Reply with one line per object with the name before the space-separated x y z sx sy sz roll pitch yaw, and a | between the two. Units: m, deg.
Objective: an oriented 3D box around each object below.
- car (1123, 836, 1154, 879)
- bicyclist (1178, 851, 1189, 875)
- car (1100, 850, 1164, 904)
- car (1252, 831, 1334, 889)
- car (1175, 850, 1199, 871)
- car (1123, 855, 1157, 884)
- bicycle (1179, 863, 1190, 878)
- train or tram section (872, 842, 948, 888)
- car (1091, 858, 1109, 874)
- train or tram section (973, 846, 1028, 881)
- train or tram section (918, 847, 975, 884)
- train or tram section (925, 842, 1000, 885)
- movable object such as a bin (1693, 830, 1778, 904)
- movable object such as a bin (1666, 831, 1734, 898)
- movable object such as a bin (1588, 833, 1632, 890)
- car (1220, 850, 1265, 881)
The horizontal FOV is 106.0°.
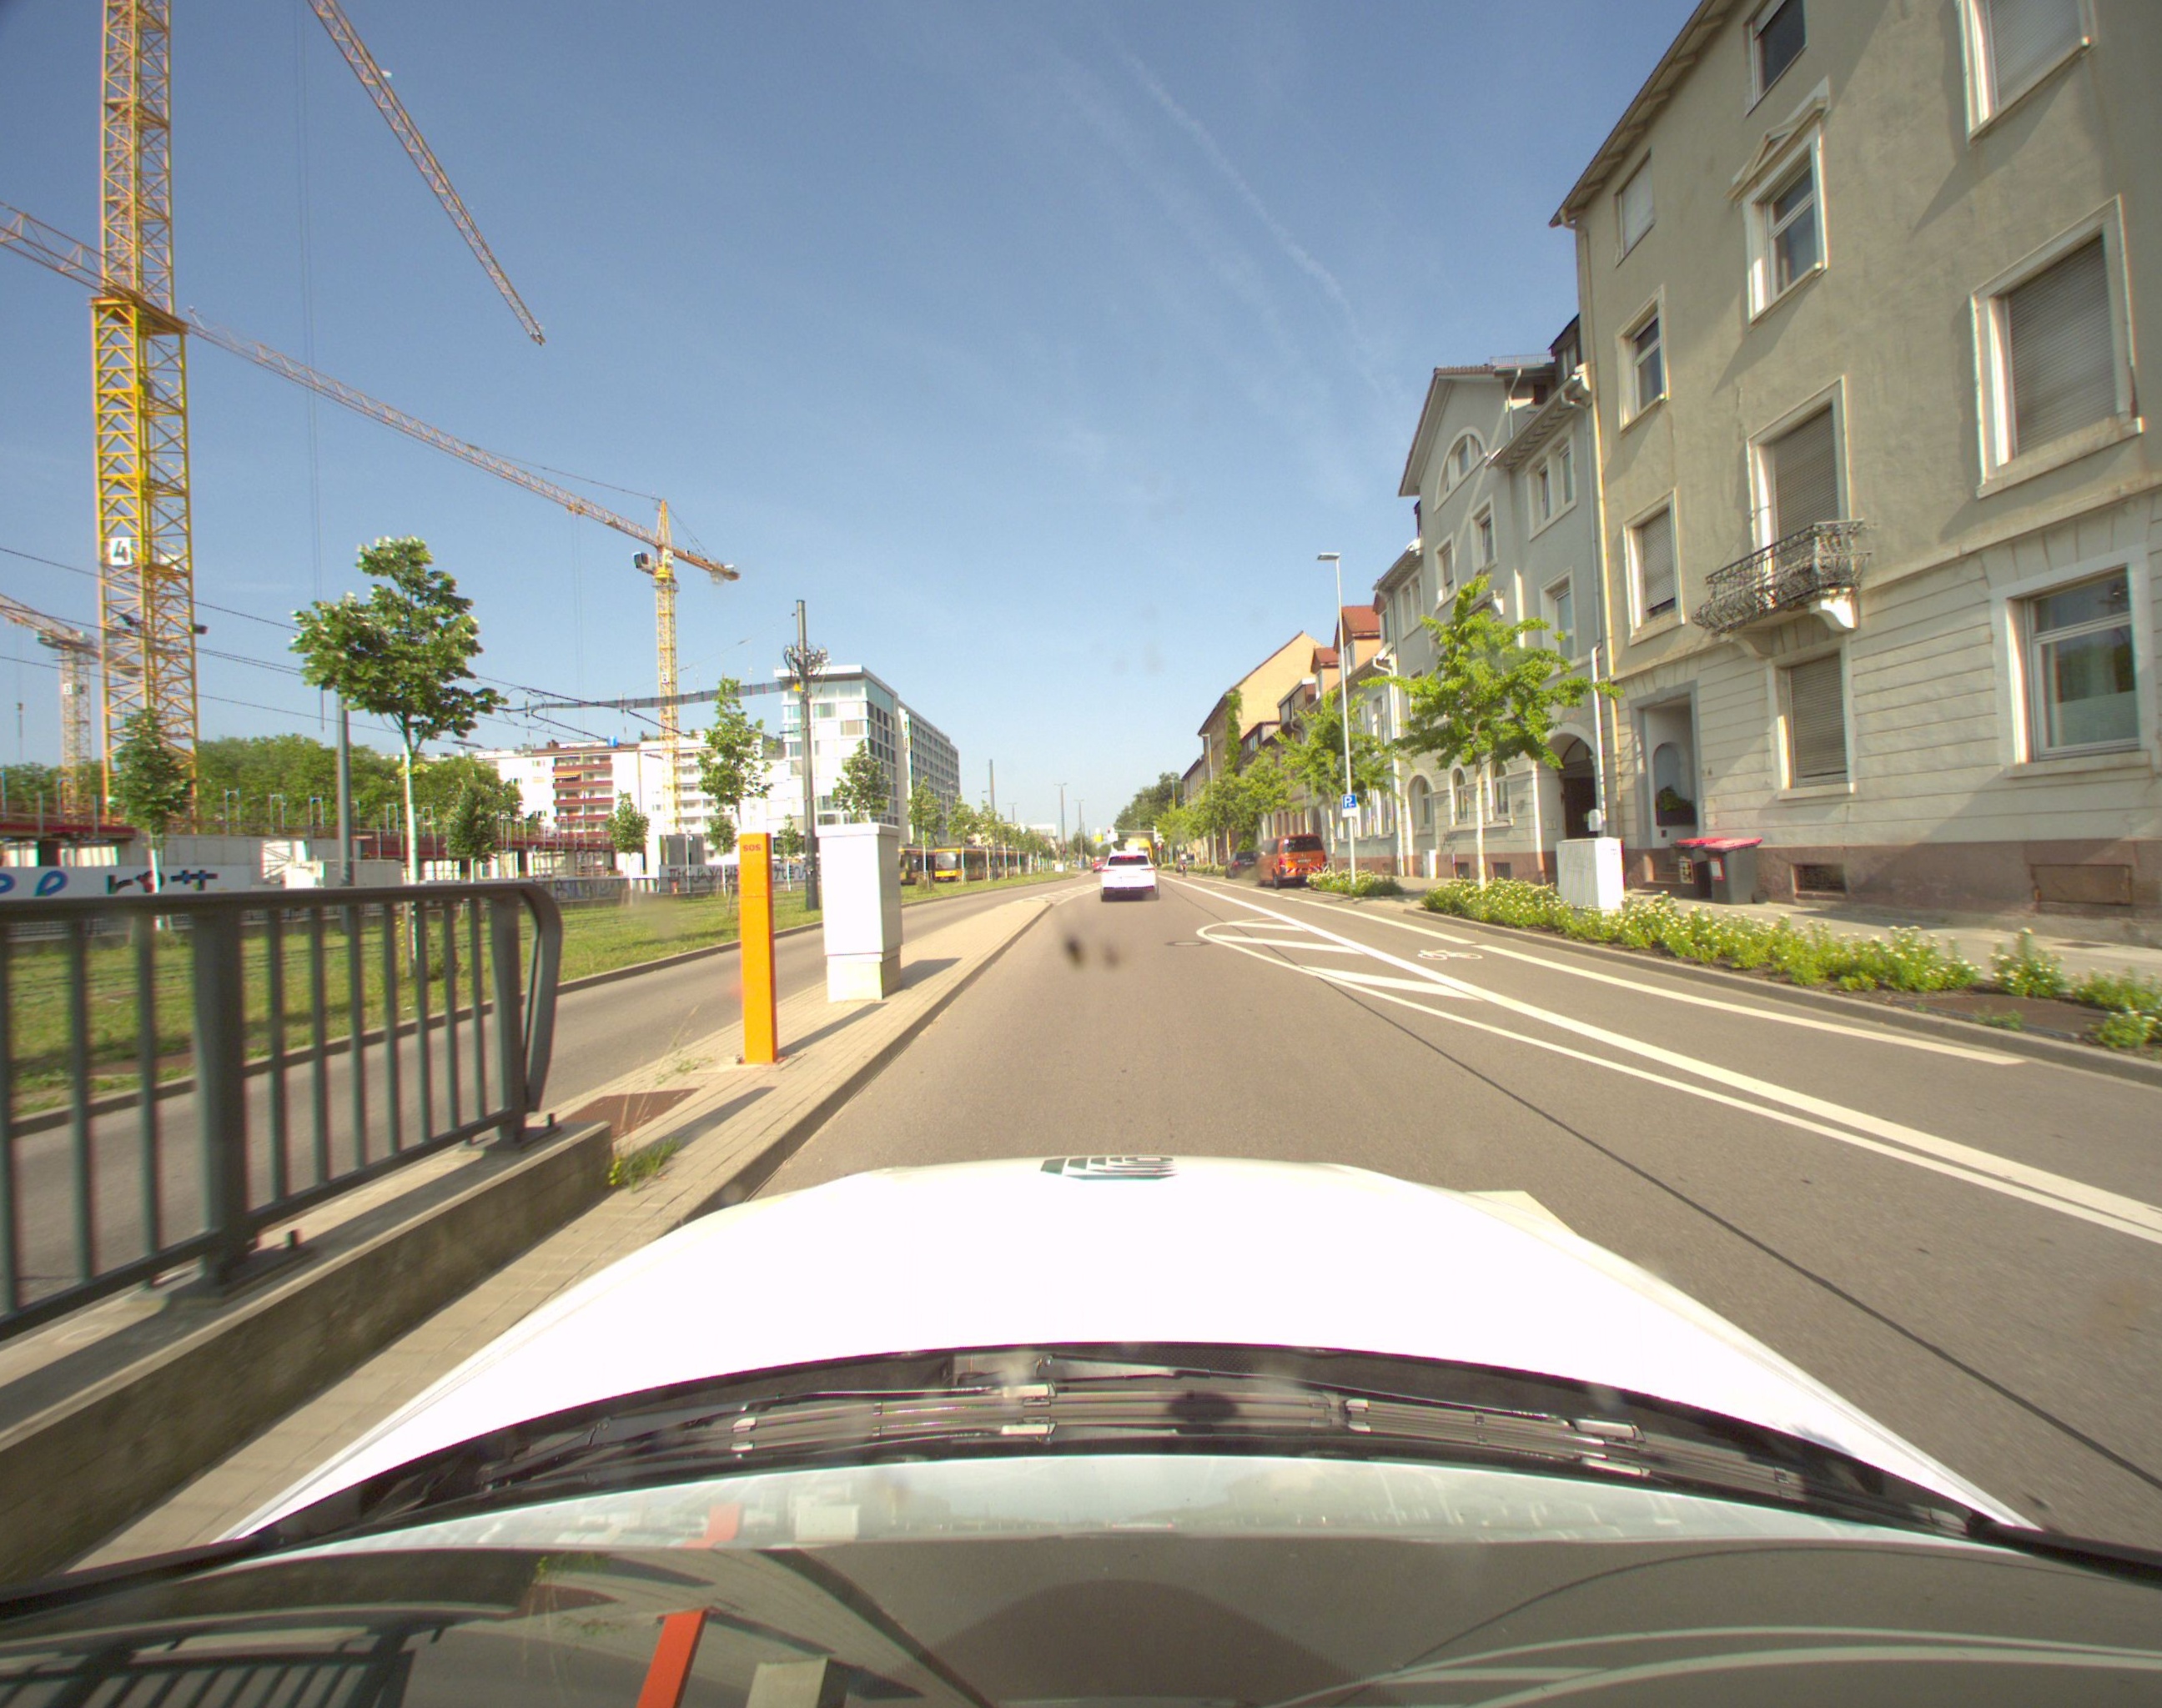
car | 4.093 0.208 58.552 2.012 2.795 5.405 -3 2 3
bicyclist | 7.068 0.608 56.004 0.636 1.577 0.772 -2 0 4
car | 1.641 0.708 26.803 1.862 1.574 4.003 -3 0 2
car | 8.194 0.191 31.918 2.055 2.013 4.590 -3 0 2
car | 9.731 0.571 75.182 1.805 1.813 3.837 -2 0 2
car | 3.197 0.820 44.736 1.753 1.436 4.118 -1 0 3
bicycle | 7.075 1.118 55.890 0.652 0.939 1.519 -2 0 4
train or tram section | -14.645 0.882 71.379 2.849 3.537 14.905 -2 0 2
car | 2.264 1.377 97.653 1.922 1.821 4.003 -2 0 3
train or tram section | -9.253 1.072 96.630 2.892 3.707 18.316 -1 -1 5
train or tram section | -13.931 1.157 85.660 2.869 3.537 13.621 -2 0 3
train or tram section | -11.007 0.893 78.509 2.892 3.676 18.163 -1 -1 5
movable object such as a bin | 11.012 0.200 13.724 0.778 1.172 0.808 -2 1 1
movable object such as a bin | 11.150 0.176 14.691 0.702 1.152 0.671 -2 1 1
movable object such as a bin | 11.137 0.141 17.146 0.674 1.152 0.610 -4 2 -42
car | 8.835 0.618 44.836 1.667 1.483 4.314 -4 -1 2
